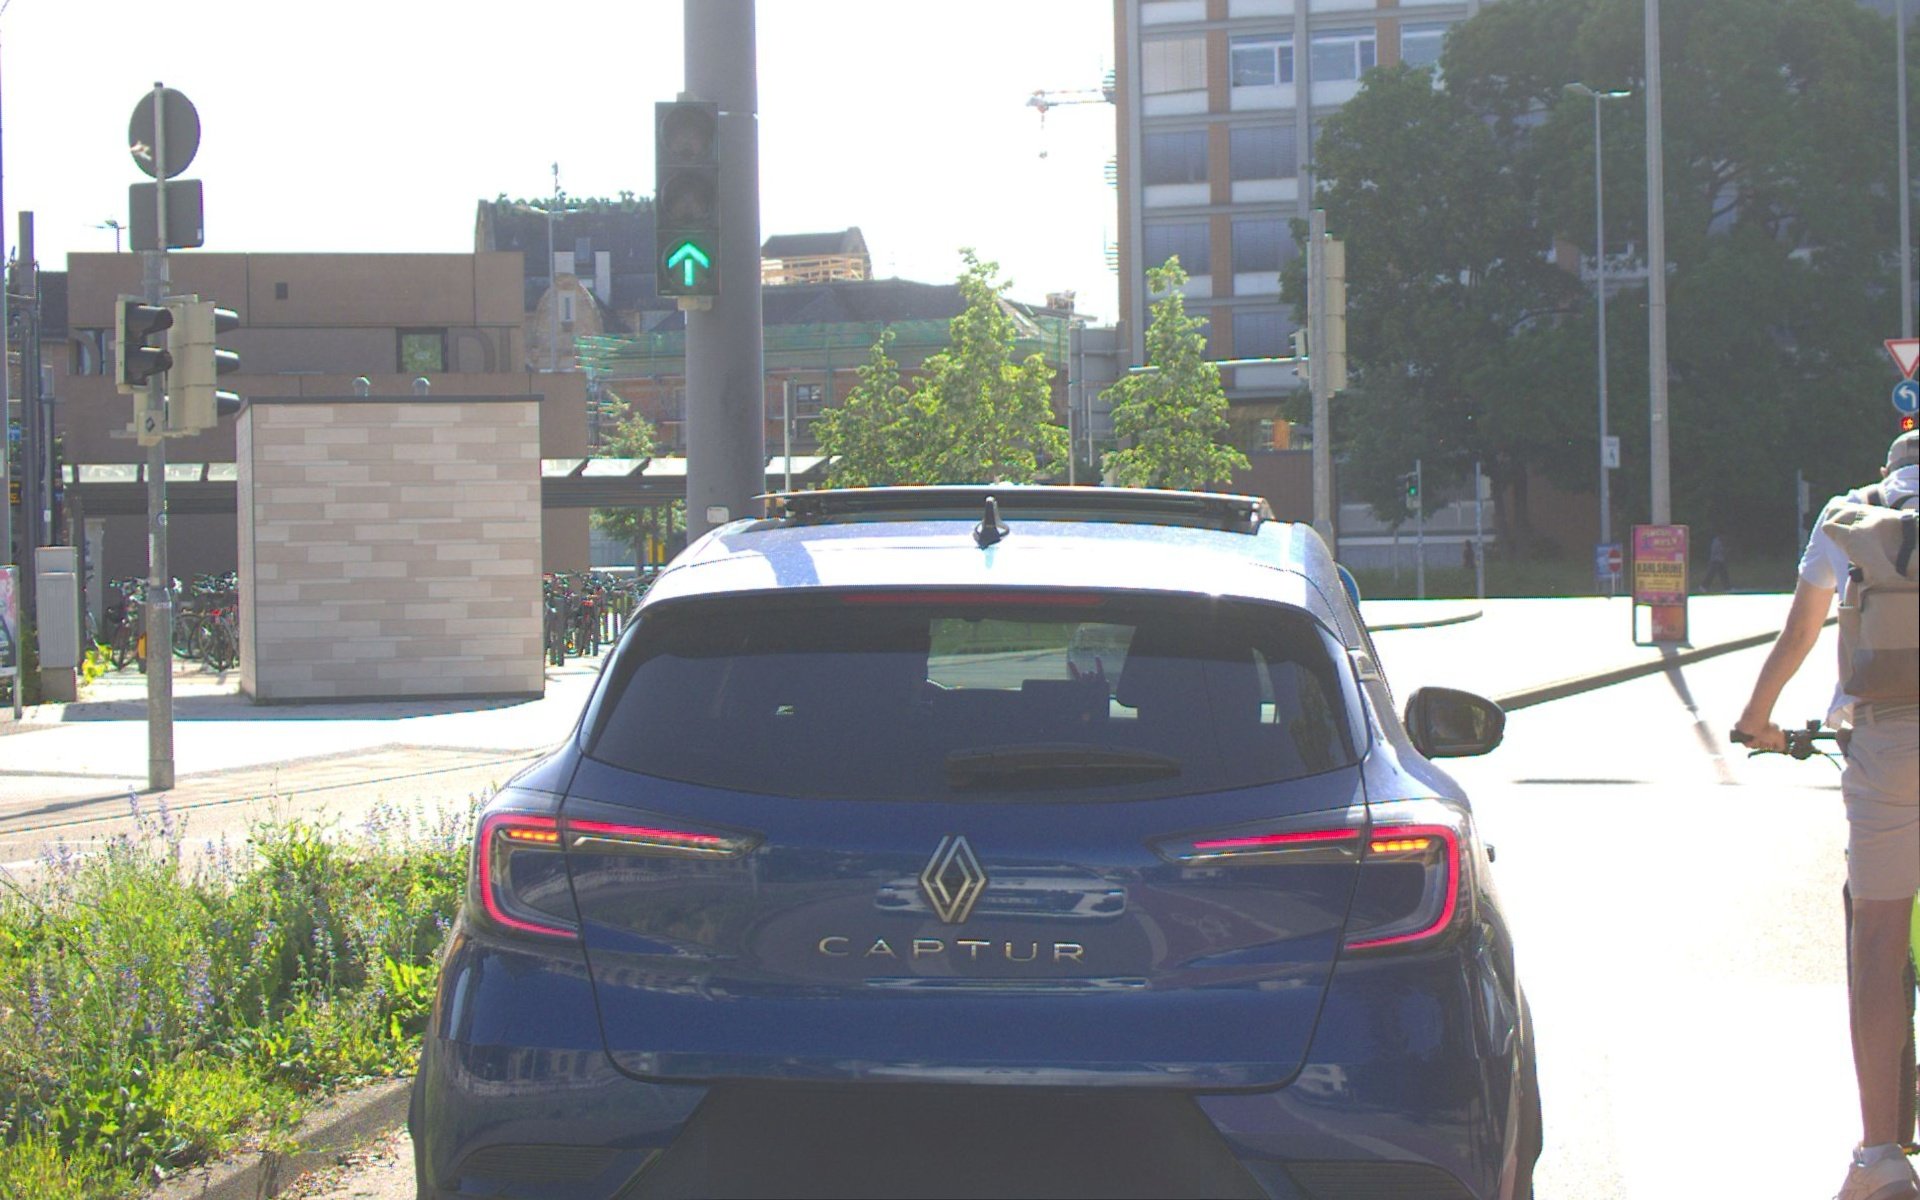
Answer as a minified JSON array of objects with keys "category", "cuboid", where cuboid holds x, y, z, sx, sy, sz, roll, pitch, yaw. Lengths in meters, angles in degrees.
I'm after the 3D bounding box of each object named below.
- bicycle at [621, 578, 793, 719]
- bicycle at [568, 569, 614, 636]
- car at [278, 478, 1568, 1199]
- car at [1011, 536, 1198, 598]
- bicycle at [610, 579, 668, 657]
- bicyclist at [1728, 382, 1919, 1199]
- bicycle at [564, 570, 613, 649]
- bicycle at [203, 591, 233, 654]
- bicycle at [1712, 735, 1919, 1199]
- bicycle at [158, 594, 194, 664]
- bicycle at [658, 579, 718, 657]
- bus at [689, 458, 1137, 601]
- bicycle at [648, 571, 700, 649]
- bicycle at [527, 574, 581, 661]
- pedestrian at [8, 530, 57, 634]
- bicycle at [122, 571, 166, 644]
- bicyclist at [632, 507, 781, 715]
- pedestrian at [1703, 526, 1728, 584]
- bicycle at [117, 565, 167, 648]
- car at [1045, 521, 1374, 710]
[{"category":"bicycle","cuboid":[-2.035,0.373,27.947,0.773,1.077,2.034,-1,0,14]},{"category":"bicycle","cuboid":[-6.033,0.047,56.168,0.580,1.084,1.872,0,0,-11]},{"category":"car","cuboid":[0.094,0.602,6.685,1.823,1.594,3.658,1,1,5]},{"category":"car","cuboid":[3.644,-0.814,86.839,4.406,1.516,1.966,0,0,38]},{"category":"bicycle","cuboid":[-4.029,0.224,43.035,0.580,0.958,2.059,0,0,-9]},{"category":"bicyclist","cuboid":[2.091,0.412,7.583,0.664,1.741,1.005,0,1,7]},{"category":"bicycle","cuboid":[-5.269,0.134,48.694,0.580,1.084,2.059,0,0,-9]},{"category":"bicycle","cuboid":[-11.362,0.341,52.653,0.421,0.934,1.379,1,0,-11]},{"category":"bicycle","cuboid":[2.101,0.889,7.602,0.663,1.043,1.890,0,2,6]},{"category":"bicycle","cuboid":[-10.863,0.394,47.631,0.421,0.934,1.306,1,0,-15]},{"category":"bicycle","cuboid":[-3.417,0.227,43.123,0.580,0.958,2.059,0,0,-9]},{"category":"bus","cuboid":[-1.367,-1.681,86.754,12.434,3.384,2.876,0,0,40]},{"category":"bicycle","cuboid":[-4.060,0.139,48.766,0.580,1.084,2.059,0,0,-9]},{"category":"bicycle","cuboid":[-5.045,0.219,42.659,0.580,1.054,1.817,0,0,-9]},{"category":"pedestrian","cuboid":[-16.967,-0.328,62.855,0.847,1.877,0.761,0,0,-16]},{"category":"bicycle","cuboid":[-12.385,0.114,52.217,0.565,1.090,2.030,0,0,-11]},{"category":"bicyclist","cuboid":[-2.055,0.084,27.964,0.880,1.639,1.060,-1,0,14]},{"category":"pedestrian","cuboid":[21.743,-1.287,98.920,0.561,1.664,0.475,0,-1,37]},{"category":"bicycle","cuboid":[-10.911,0.089,45.908,0.565,1.090,2.030,0,0,-11]},{"category":"car","cuboid":[2.276,0.094,30.287,1.802,1.388,4.089,-1,3,20]}]
